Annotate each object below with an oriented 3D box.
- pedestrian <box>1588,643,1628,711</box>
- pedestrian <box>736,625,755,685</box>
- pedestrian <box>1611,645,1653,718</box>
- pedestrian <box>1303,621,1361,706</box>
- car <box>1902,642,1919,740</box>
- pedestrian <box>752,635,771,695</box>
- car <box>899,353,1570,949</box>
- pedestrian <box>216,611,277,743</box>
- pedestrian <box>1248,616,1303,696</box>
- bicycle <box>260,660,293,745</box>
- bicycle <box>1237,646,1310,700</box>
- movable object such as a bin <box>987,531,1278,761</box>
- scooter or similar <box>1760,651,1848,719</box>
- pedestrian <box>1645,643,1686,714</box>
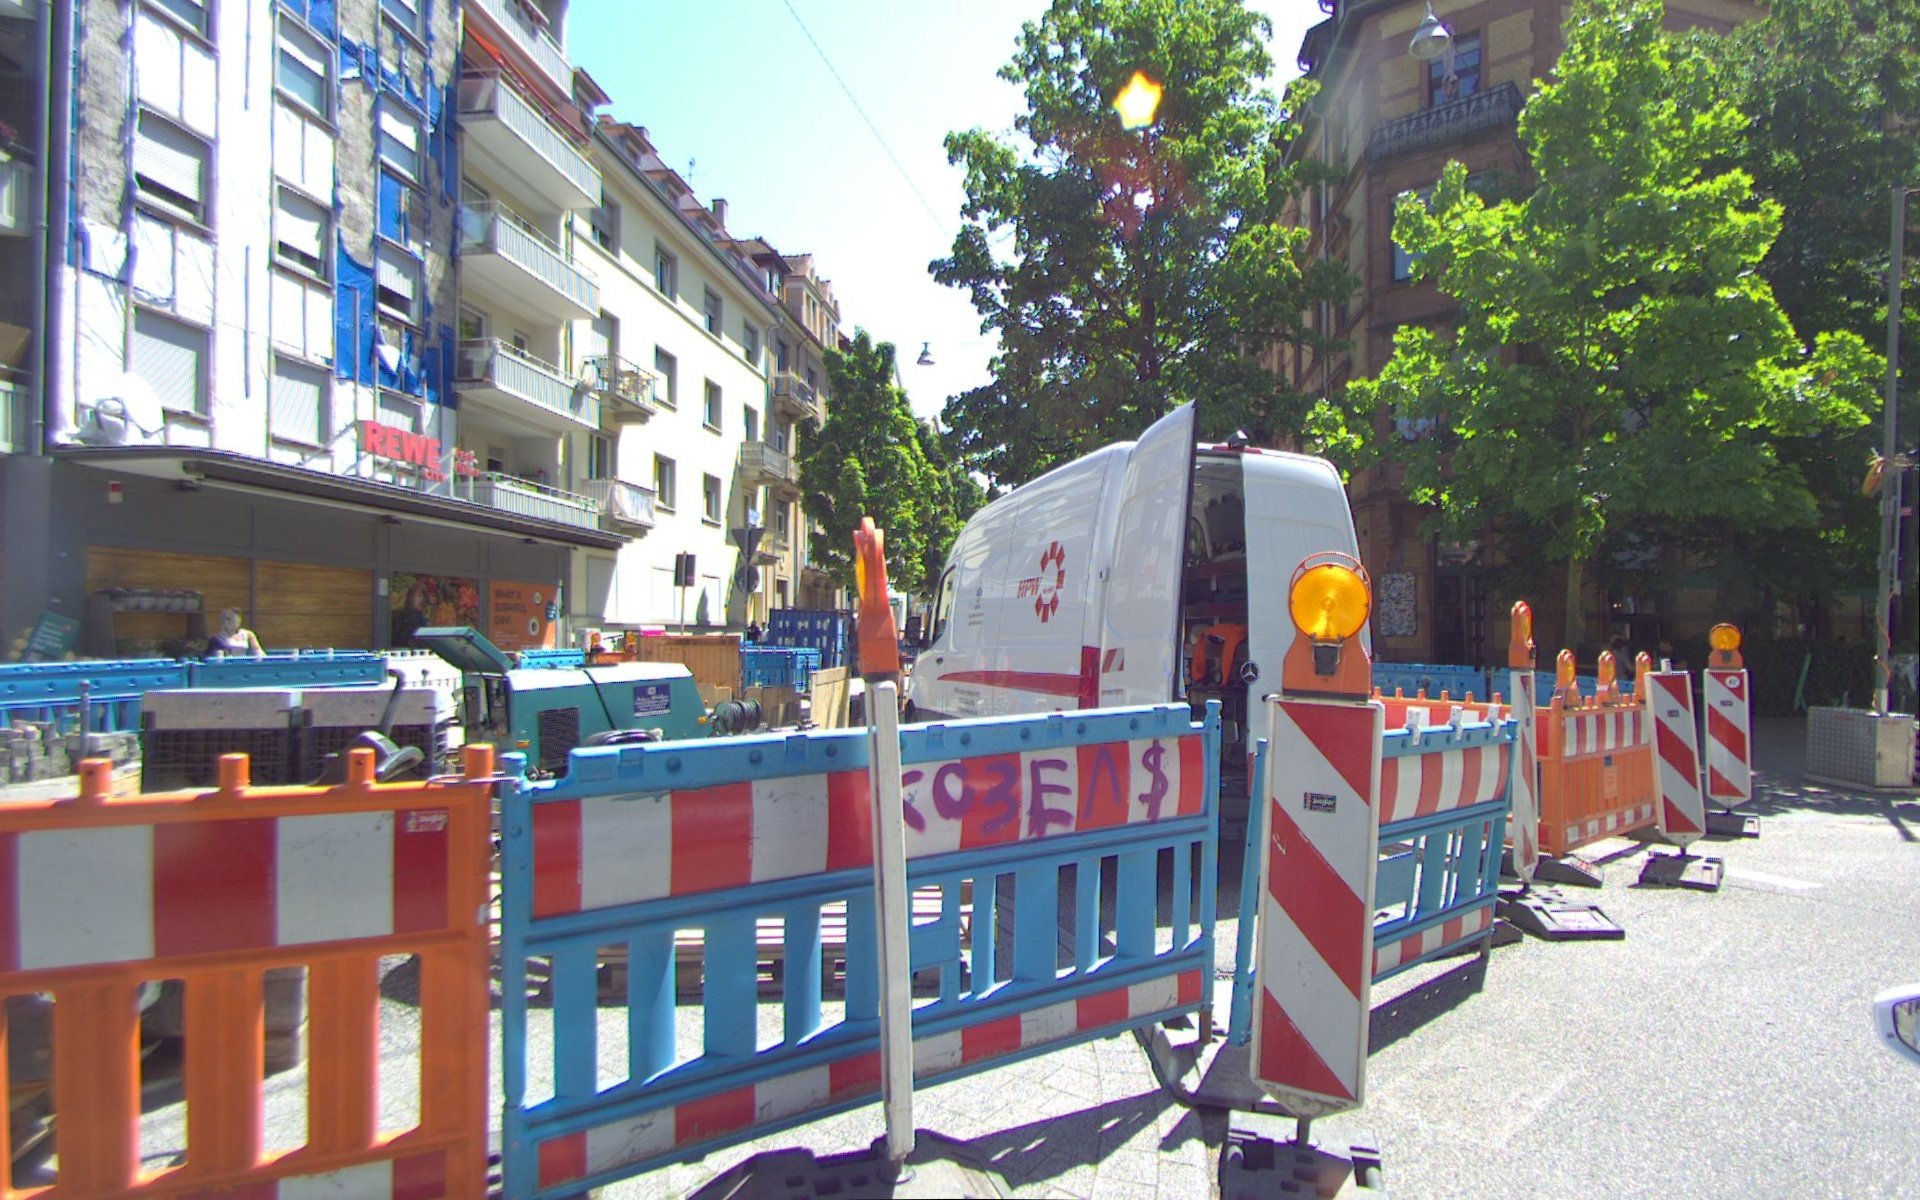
[{"bbox_3d":[12.013,1.410,18.623,0.549,1.236,0.596,-1,-2,38],"label":"pedestrian"},{"bbox_3d":[-7.380,1.899,34.571,0.534,2.040,0.413,0,-2,7],"label":"pedestrian"},{"bbox_3d":[11.725,1.399,17.521,0.549,1.236,0.596,-1,-2,38],"label":"pedestrian"},{"bbox_3d":[7.709,1.297,20.829,0.917,1.727,0.636,1,0,-21],"label":"pedestrian"},{"bbox_3d":[16.033,1.366,14.209,3.945,1.394,1.988,0,-1,44],"label":"car"},{"bbox_3d":[-6.810,2.213,34.470,0.494,2.040,0.447,0,-2,7],"label":"pedestrian"},{"bbox_3d":[1.255,0.382,8.215,2.339,2.787,6.626,1,-3,-14],"label":"car"},{"bbox_3d":[-9.615,1.032,13.540,0.579,1.737,0.390,-1,-2,22],"label":"pedestrian"},{"bbox_3d":[7.357,1.285,23.464,0.849,1.814,1.006,1,0,-11],"label":"pedestrian"},{"bbox_3d":[-9.460,1.383,13.919,0.339,1.086,1.560,1,-2,-34],"label":"bicycle"},{"bbox_3d":[7.224,1.668,23.296,0.591,1.101,2.283,1,-1,-11],"label":"bicycle"},{"bbox_3d":[2.207,0.559,14.258,1.927,2.694,4.532,1,0,-23],"label":"movable object such as a bin"},{"bbox_3d":[14.594,1.466,17.367,1.443,1.136,0.278,0,1,-9],"label":"scooter or similar"},{"bbox_3d":[12.546,1.381,17.871,0.549,1.236,0.596,-1,-2,38],"label":"pedestrian"}]
